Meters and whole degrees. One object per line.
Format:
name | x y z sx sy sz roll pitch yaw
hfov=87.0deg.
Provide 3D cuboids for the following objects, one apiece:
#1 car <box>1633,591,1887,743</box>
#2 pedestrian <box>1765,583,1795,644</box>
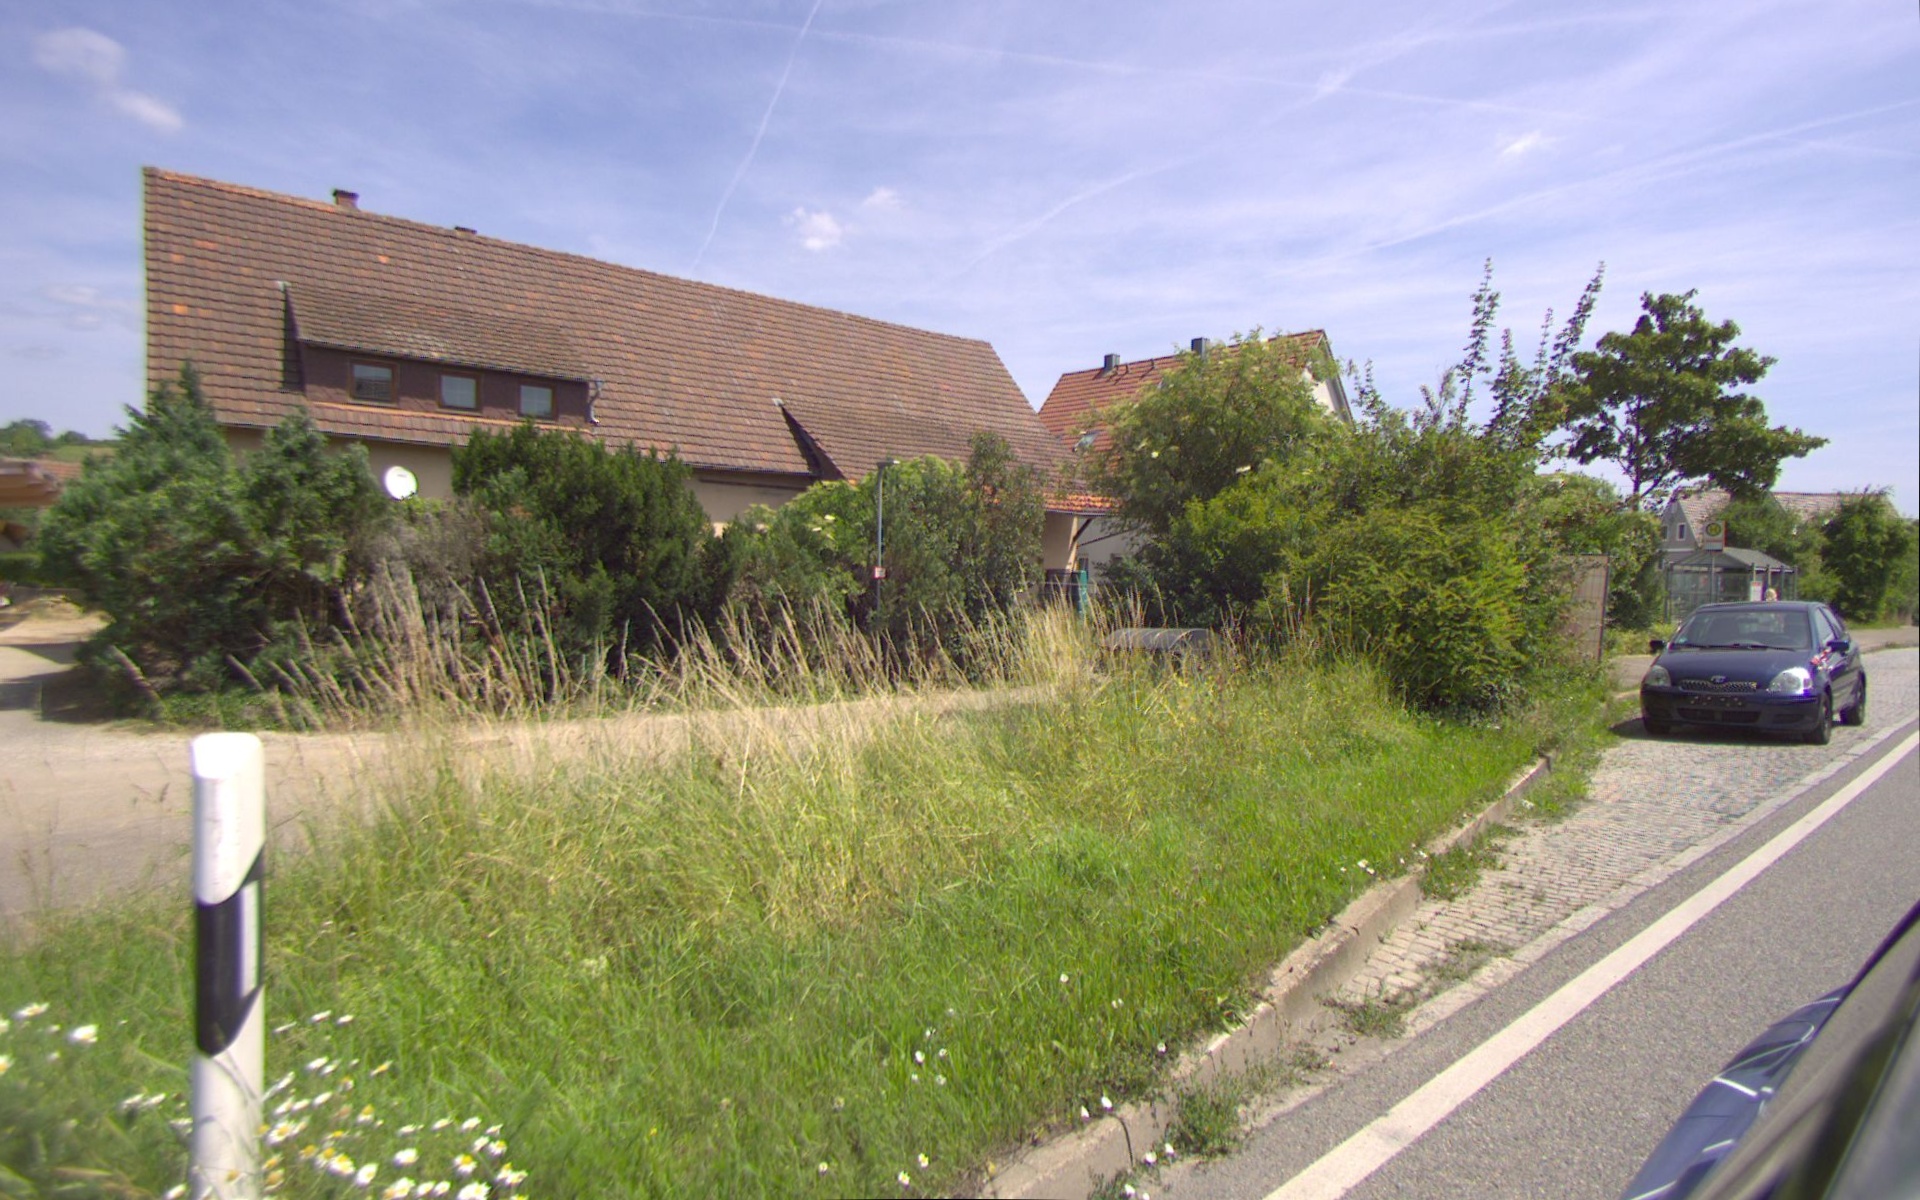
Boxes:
car | 9.416 0.686 11.830 3.489 1.504 1.634 0 -2 -40
pedestrian | 21.392 0.339 26.412 0.517 1.568 0.556 1 1 31
